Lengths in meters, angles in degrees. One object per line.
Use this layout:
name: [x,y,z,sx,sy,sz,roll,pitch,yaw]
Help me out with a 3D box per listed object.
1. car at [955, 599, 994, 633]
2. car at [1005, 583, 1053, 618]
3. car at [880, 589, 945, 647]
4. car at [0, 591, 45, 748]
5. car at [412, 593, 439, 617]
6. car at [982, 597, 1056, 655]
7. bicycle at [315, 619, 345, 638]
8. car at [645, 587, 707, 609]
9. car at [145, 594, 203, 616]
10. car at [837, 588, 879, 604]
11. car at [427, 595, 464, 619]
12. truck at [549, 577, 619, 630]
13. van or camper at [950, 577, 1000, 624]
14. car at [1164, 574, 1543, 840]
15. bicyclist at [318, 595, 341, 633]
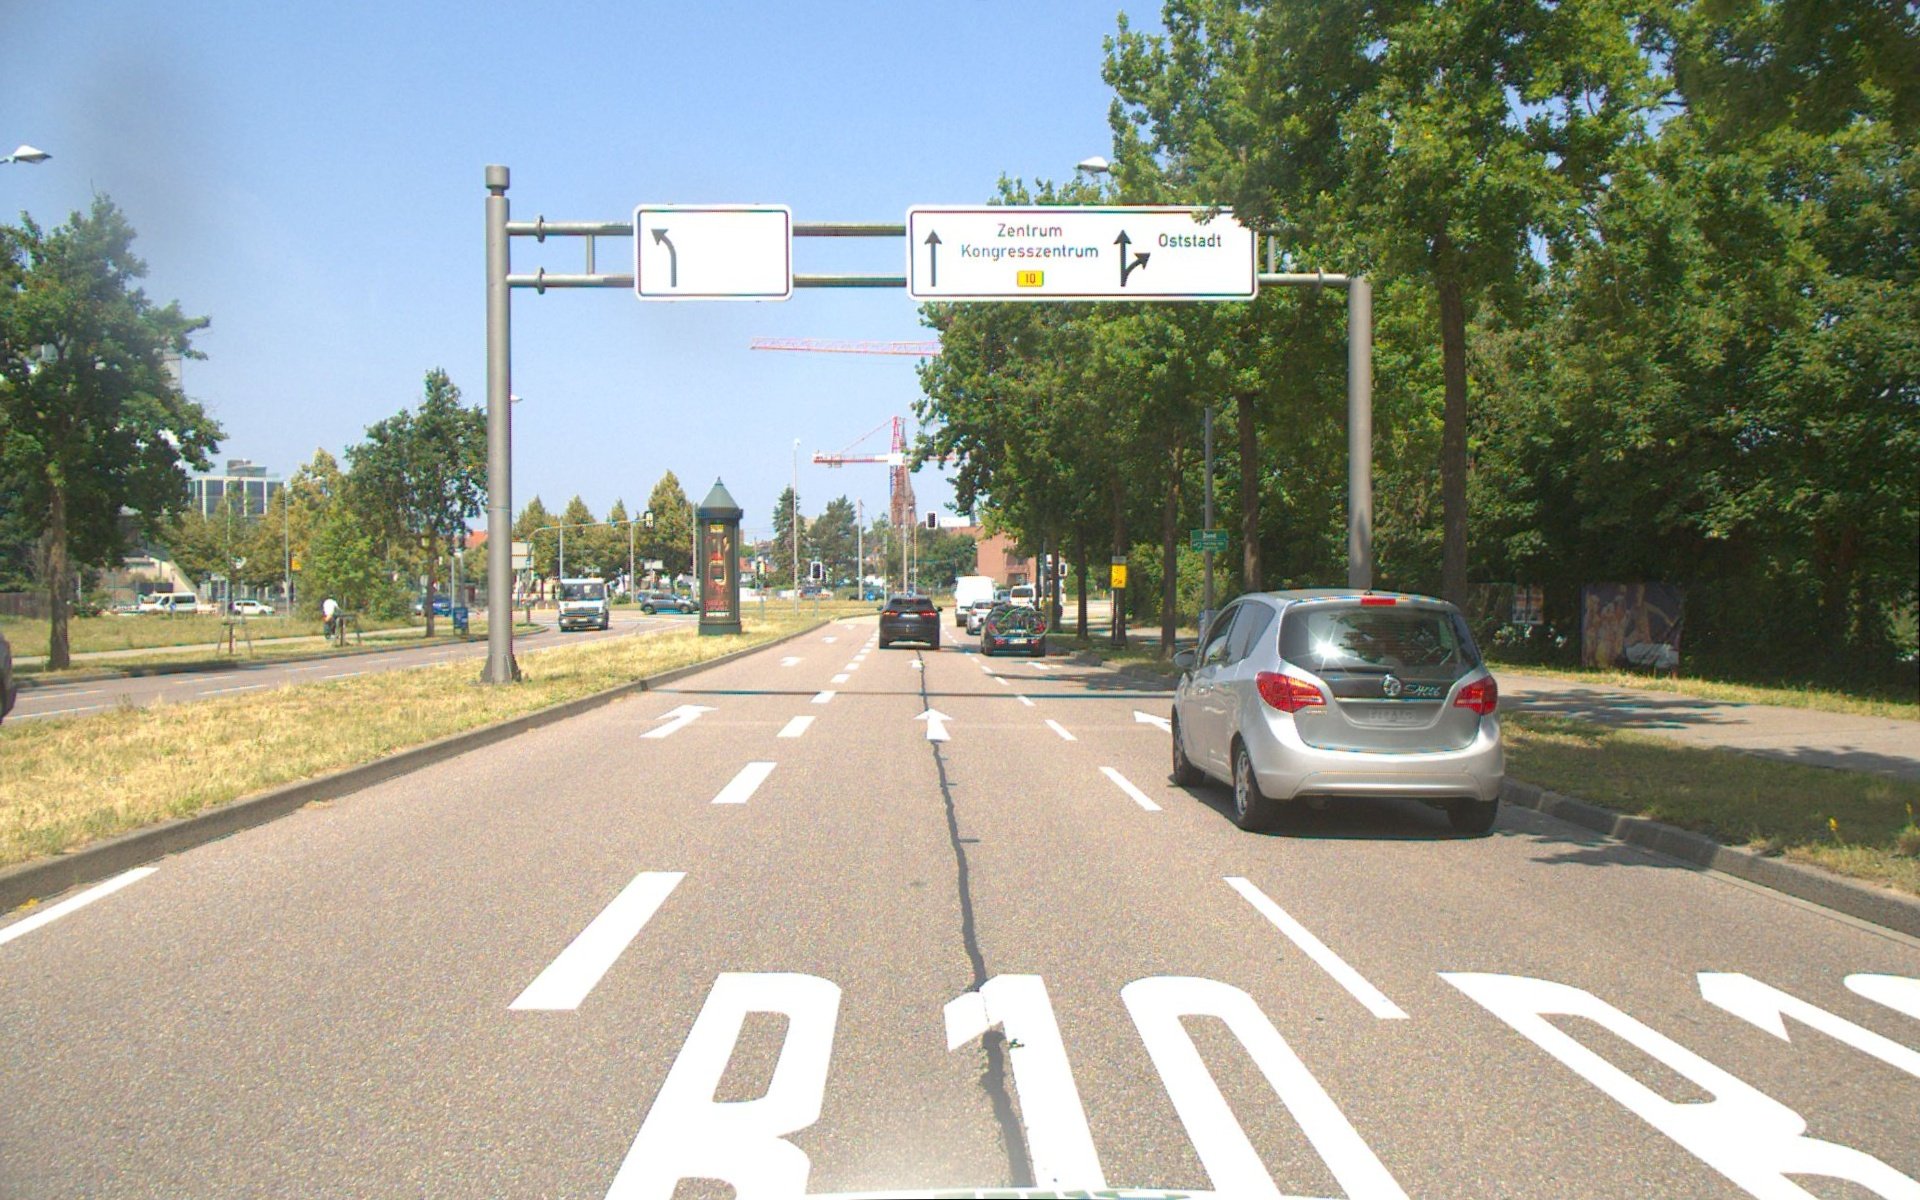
car: [0.664,0.658,71.573,1.620,1.380,4.461,-1,0,1]
car: [4.243,0.014,100.719,1.951,2.049,4.002,-1,0,18]
car: [-1.453,0.544,52.221,1.957,1.719,4.033,1,1,0]
car: [-10.919,0.748,15.855,1.854,1.639,4.533,-1,0,-2]
car: [-43.078,0.391,133.223,1.964,1.847,3.977,-1,0,-20]
car: [1.657,0.706,47.572,1.973,1.543,4.461,-1,0,0]
bicycle: [-25.936,1.154,68.073,0.471,0.728,1.850,-1,0,1]
car: [-19.464,-0.145,113.338,3.906,1.478,2.000,-1,0,-1]
car: [-69.183,0.413,145.668,1.955,1.911,4.284,-1,0,27]
car: [-10.091,-0.417,164.361,3.902,1.489,2.001,-1,0,6]
car: [-37.143,0.501,119.298,1.970,1.624,3.965,-1,0,-27]
truck: [-19.184,0.159,84.596,2.587,2.621,6.312,-1,0,-5]
van or camper: [0.729,0.030,85.765,2.443,2.331,4.920,-1,0,-1]
car: [2.695,0.652,12.240,1.756,1.640,3.889,0,0,-2]
bicyclist: [-25.934,0.571,68.008,0.610,1.515,0.757,-1,0,1]
